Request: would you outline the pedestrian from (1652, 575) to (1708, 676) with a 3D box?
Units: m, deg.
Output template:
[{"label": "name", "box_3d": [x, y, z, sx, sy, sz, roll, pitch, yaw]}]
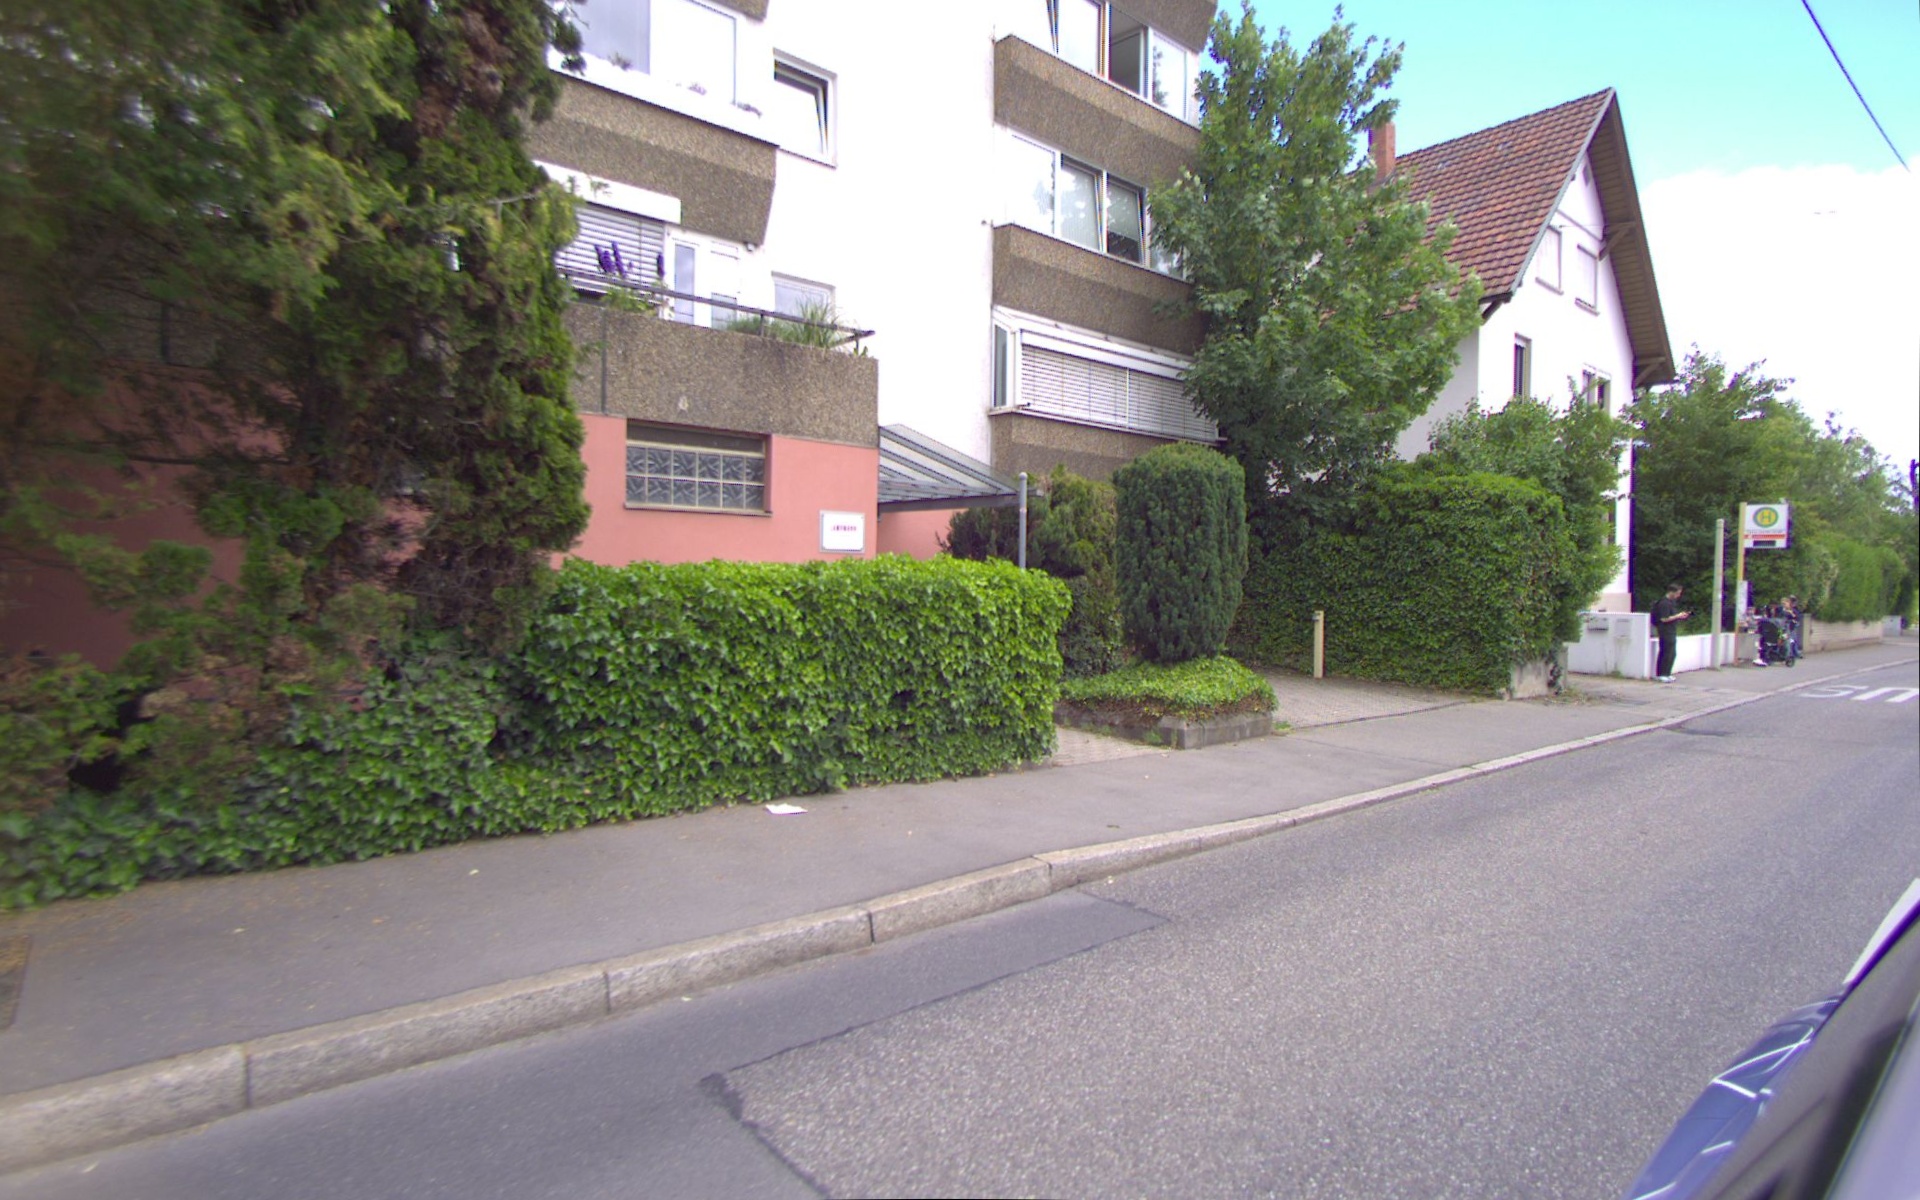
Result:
[{"label": "pedestrian", "box_3d": [12.984, 0.455, 18.260, 0.657, 1.789, 0.491, 0, 0, -9]}]

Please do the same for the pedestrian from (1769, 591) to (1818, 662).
[{"label": "pedestrian", "box_3d": [19.291, 0.595, 23.421, 0.736, 1.553, 0.661, 0, 4, -42]}]

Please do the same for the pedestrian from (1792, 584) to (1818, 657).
[{"label": "pedestrian", "box_3d": [21.160, 0.503, 25.344, 0.489, 1.776, 0.344, 0, 4, -45]}]

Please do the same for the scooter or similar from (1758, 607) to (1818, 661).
[{"label": "scooter or similar", "box_3d": [18.684, 0.759, 22.841, 0.842, 1.110, 0.479, 3, 3, 2]}]

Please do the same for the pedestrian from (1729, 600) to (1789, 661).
[{"label": "pedestrian", "box_3d": [17.788, 0.660, 22.533, 0.914, 1.266, 0.777, 6, 4, 44]}]
